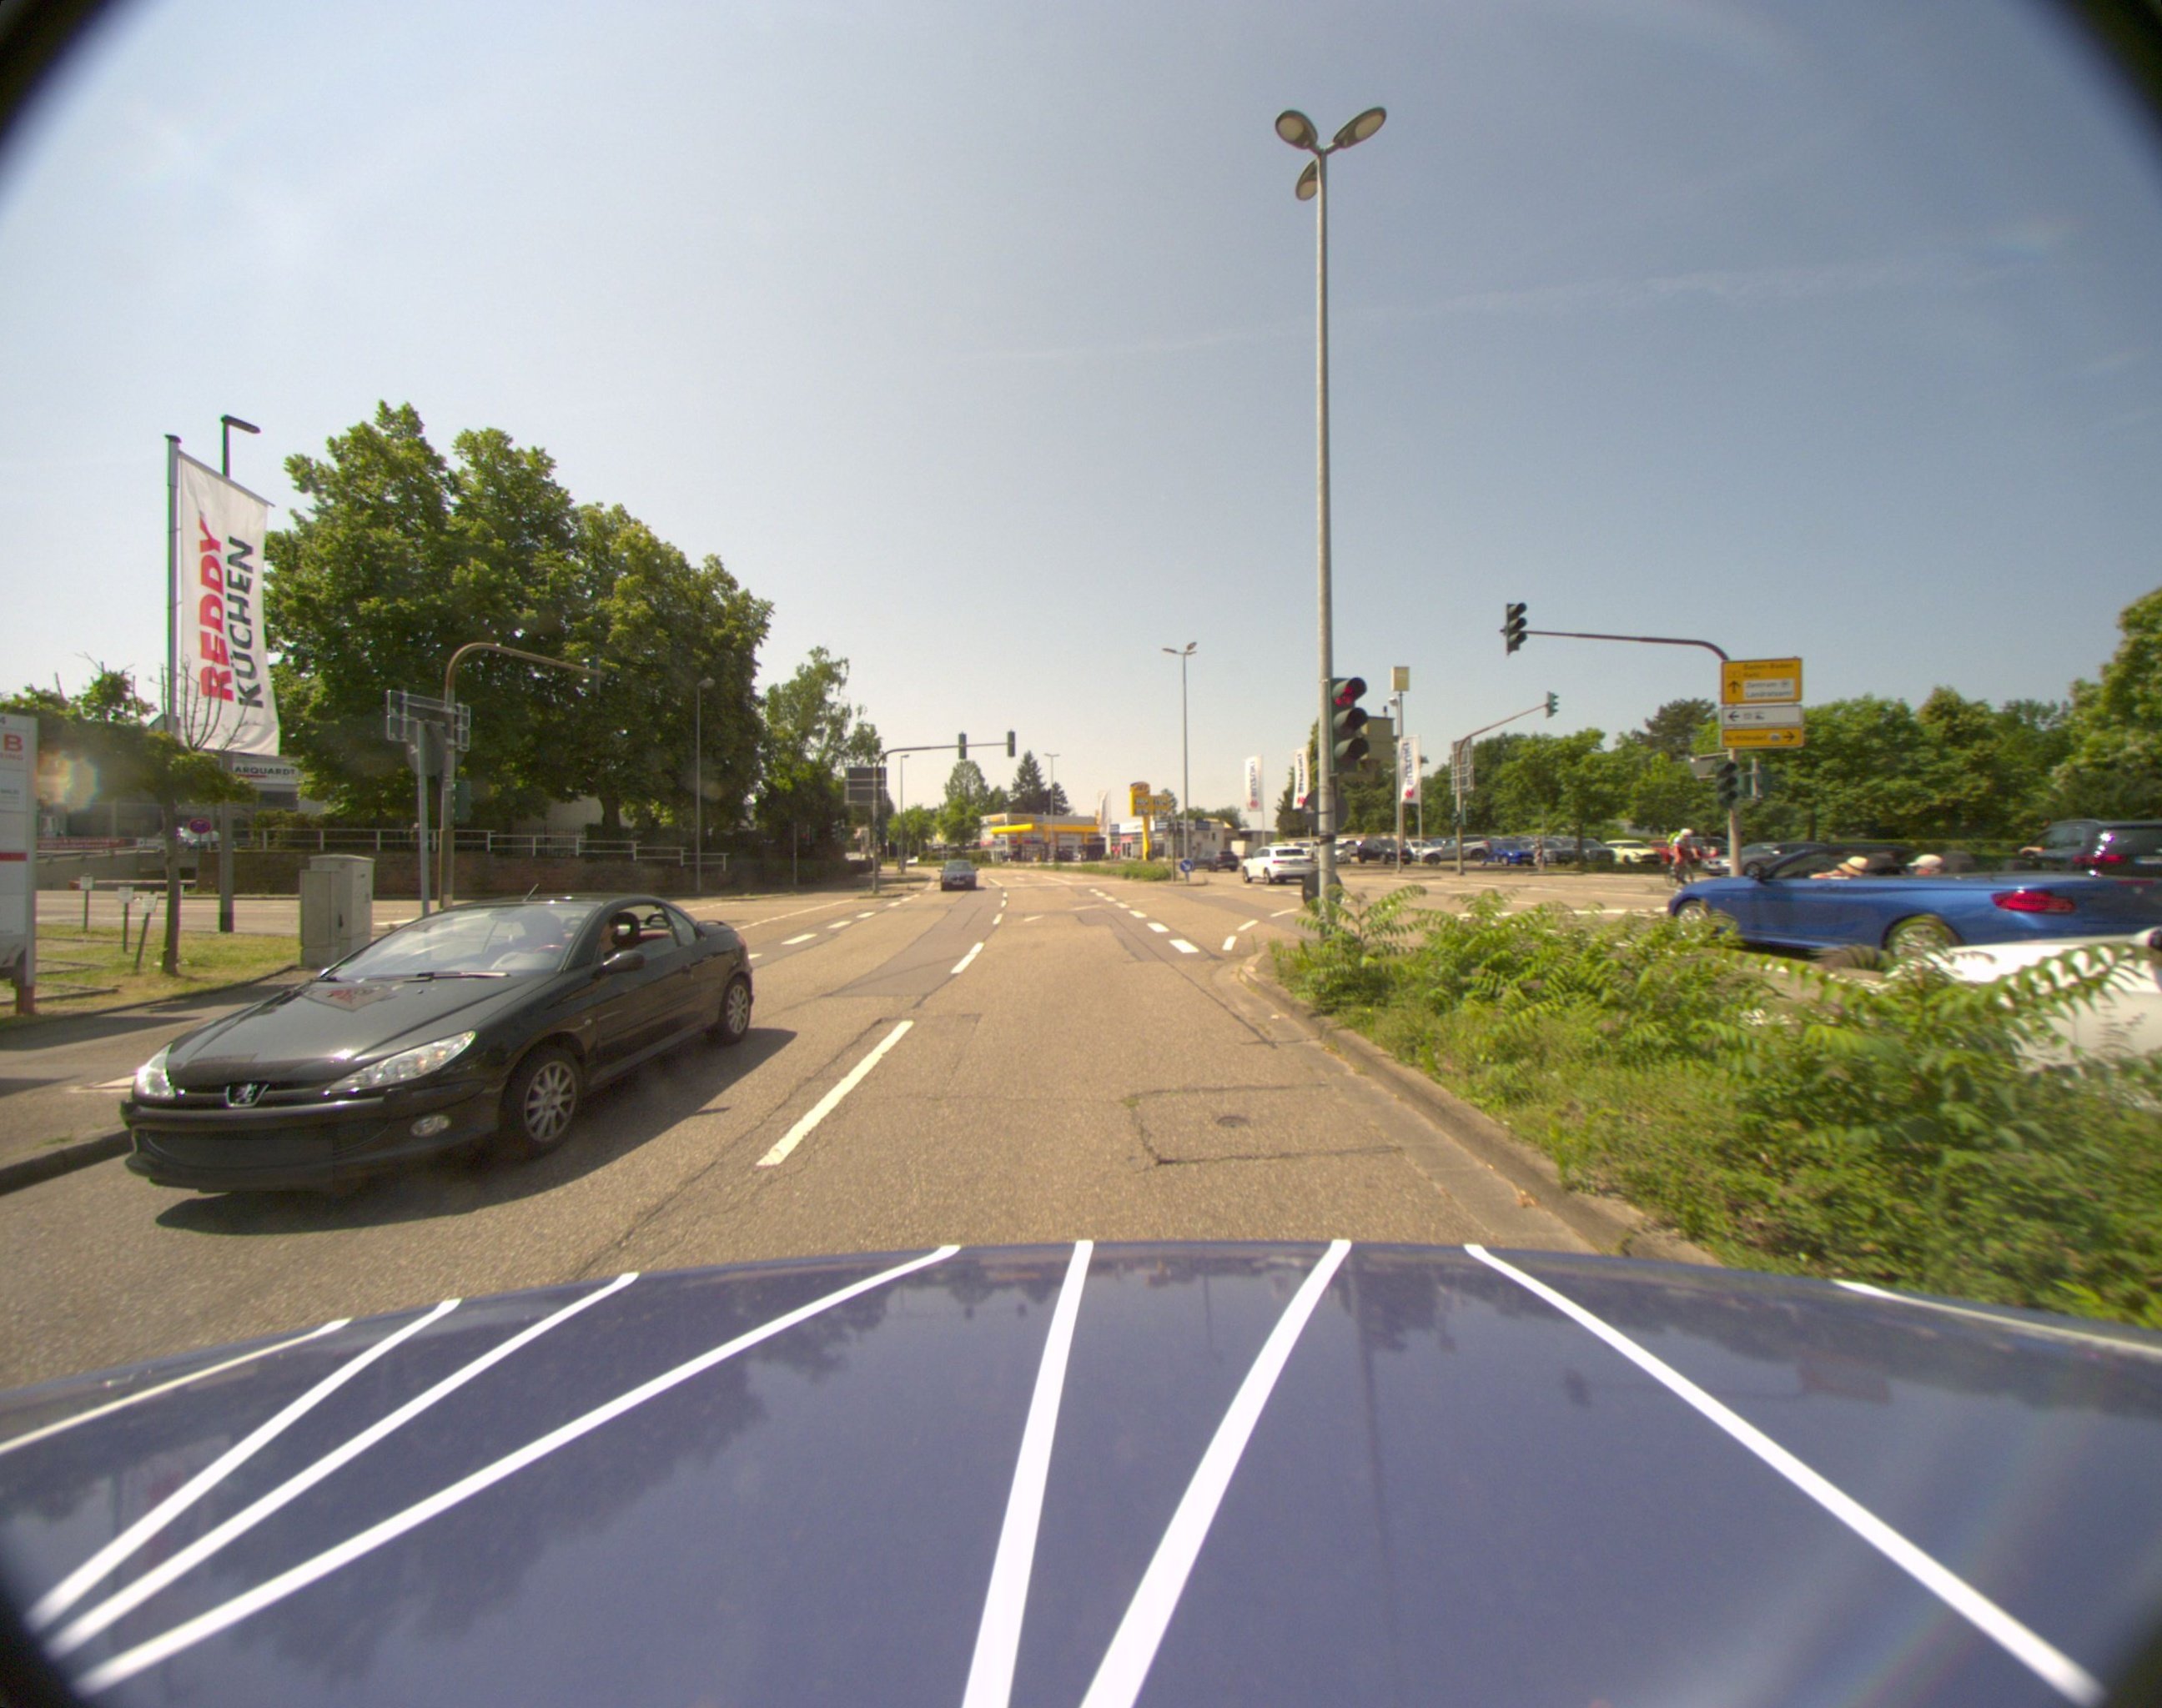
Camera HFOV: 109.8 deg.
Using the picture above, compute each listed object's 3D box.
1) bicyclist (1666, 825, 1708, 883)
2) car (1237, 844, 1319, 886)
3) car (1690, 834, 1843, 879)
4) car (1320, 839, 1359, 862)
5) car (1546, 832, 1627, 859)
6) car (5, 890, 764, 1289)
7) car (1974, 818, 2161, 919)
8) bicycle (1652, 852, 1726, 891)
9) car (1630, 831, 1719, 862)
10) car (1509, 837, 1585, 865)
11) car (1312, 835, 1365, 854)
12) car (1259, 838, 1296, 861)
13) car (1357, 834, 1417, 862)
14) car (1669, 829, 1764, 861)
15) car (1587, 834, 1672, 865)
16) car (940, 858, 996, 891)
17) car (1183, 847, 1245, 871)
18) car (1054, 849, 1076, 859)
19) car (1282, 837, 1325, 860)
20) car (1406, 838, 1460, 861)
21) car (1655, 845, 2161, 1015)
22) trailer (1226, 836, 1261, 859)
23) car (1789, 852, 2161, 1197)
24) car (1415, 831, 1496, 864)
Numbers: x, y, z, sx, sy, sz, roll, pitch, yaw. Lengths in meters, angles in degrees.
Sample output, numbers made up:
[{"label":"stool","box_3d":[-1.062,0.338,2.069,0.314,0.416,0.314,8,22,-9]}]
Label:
[{"label":"bicyclist","box_3d":[17.448,-0.001,21.875,0.422,1.633,0.820,-3,0,-12]},{"label":"car","box_3d":[8.201,0.406,32.060,1.822,1.561,4.553,-2,1,-6]},{"label":"car","box_3d":[28.068,0.097,31.202,4.760,1.601,1.761,-2,1,-1]},{"label":"car","box_3d":[17.687,-0.280,51.928,1.711,1.424,3.969,0,2,31]},{"label":"car","box_3d":[30.357,-0.533,45.779,1.841,1.561,3.996,0,1,-8]},{"label":"car","box_3d":[-3.659,1.068,5.005,1.604,1.417,3.660,-2,0,-1]},{"label":"car","box_3d":[19.252,0.220,14.288,1.994,1.647,4.603,3,3,35]},{"label":"bicycle","box_3d":[17.464,0.482,21.857,0.422,1.048,1.787,-3,1,-11]},{"label":"car","box_3d":[35.158,-0.444,45.150,1.868,1.674,3.997,-2,1,-7]},{"label":"car","box_3d":[27.999,-0.222,45.767,1.795,1.528,3.997,-2,1,-7]},{"label":"car","box_3d":[23.589,-0.806,69.852,1.697,1.640,4.747,-2,1,-28]},{"label":"car","box_3d":[14.698,-0.357,56.709,1.753,1.501,3.826,-2,1,28]},{"label":"car","box_3d":[19.755,-0.434,49.261,1.846,1.714,4.010,-2,2,-8]},{"label":"car","box_3d":[37.676,-0.554,45.181,2.000,1.740,3.997,-2,1,-7]},{"label":"car","box_3d":[32.700,-0.296,45.427,1.907,1.697,3.997,-2,1,-7]},{"label":"car","box_3d":[-5.270,0.936,35.974,1.697,1.365,4.001,-1,1,6]},{"label":"car","box_3d":[8.900,0.320,51.204,2.006,1.477,4.432,-2,1,-24]},{"label":"car","box_3d":[-2.489,0.022,116.556,1.659,1.534,4.204,-3,1,-27]},{"label":"car","box_3d":[15.978,-0.412,54.416,1.913,1.532,3.969,-2,1,32]},{"label":"car","box_3d":[26.094,-0.350,56.419,1.795,1.528,3.997,-2,1,-7]},{"label":"car","box_3d":[8.998,0.623,8.496,1.867,1.358,4.346,-2,0,0]},{"label":"trailer","box_3d":[12.915,-0.521,60.291,1.689,1.694,2.439,-1,1,40]},{"label":"car","box_3d":[5.589,0.748,2.648,1.867,1.422,4.744,-2,0,1]},{"label":"car","box_3d":[22.668,-0.405,46.052,4.297,1.891,1.832,1,3,29]}]
